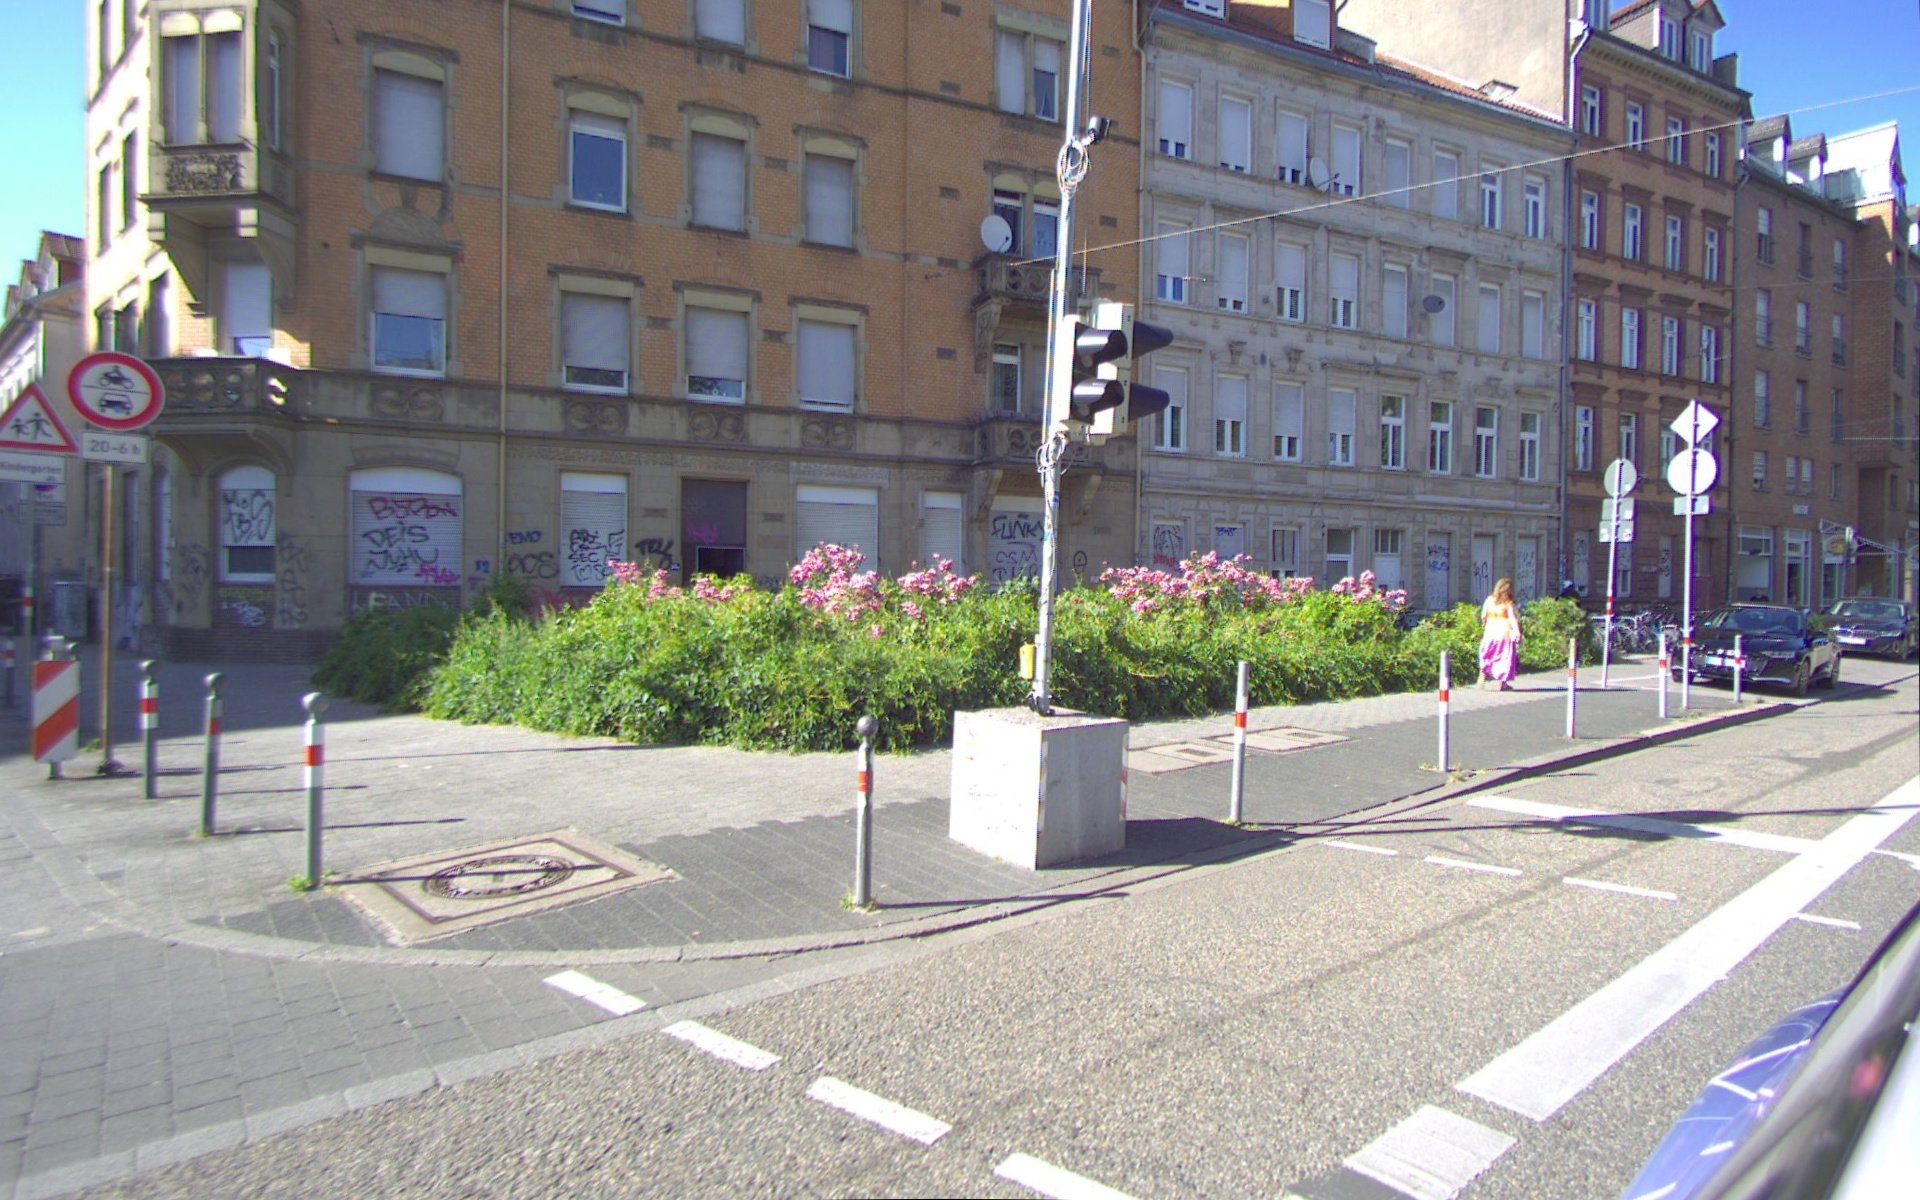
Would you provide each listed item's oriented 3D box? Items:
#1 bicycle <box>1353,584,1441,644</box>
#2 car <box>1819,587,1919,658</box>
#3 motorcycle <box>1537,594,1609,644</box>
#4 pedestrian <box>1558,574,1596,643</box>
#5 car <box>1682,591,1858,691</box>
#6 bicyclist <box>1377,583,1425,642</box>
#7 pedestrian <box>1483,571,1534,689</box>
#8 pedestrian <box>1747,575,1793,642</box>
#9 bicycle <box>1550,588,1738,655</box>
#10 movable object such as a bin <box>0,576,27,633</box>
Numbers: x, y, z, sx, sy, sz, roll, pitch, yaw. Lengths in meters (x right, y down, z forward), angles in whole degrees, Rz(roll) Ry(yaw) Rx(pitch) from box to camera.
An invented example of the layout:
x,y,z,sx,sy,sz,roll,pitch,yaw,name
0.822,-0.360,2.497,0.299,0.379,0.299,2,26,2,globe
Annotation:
x,y,z,sx,sy,sz,roll,pitch,yaw,name
10.027,0.309,23.164,2.197,1.302,0.956,0,1,-40,bicycle
23.915,0.516,26.107,4.391,1.543,1.766,0,5,-38,car
17.017,0.513,28.101,1.622,1.332,0.707,1,1,38,motorcycle
17.098,0.229,28.041,0.817,1.885,0.694,1,0,37,pedestrian
13.988,0.619,17.413,3.930,1.502,1.682,0,1,-41,car
10.080,0.273,23.132,0.847,1.302,0.693,0,0,-40,bicyclist
8.118,0.422,14.972,0.548,1.697,0.679,1,0,37,pedestrian
25.287,0.260,31.595,1.344,2.039,0.844,0,0,-40,pedestrian
16.786,0.454,24.640,6.705,1.434,1.968,0,1,-39,bicycle
-25.053,0.103,26.344,1.214,1.462,1.019,1,1,43,movable object such as a bin
